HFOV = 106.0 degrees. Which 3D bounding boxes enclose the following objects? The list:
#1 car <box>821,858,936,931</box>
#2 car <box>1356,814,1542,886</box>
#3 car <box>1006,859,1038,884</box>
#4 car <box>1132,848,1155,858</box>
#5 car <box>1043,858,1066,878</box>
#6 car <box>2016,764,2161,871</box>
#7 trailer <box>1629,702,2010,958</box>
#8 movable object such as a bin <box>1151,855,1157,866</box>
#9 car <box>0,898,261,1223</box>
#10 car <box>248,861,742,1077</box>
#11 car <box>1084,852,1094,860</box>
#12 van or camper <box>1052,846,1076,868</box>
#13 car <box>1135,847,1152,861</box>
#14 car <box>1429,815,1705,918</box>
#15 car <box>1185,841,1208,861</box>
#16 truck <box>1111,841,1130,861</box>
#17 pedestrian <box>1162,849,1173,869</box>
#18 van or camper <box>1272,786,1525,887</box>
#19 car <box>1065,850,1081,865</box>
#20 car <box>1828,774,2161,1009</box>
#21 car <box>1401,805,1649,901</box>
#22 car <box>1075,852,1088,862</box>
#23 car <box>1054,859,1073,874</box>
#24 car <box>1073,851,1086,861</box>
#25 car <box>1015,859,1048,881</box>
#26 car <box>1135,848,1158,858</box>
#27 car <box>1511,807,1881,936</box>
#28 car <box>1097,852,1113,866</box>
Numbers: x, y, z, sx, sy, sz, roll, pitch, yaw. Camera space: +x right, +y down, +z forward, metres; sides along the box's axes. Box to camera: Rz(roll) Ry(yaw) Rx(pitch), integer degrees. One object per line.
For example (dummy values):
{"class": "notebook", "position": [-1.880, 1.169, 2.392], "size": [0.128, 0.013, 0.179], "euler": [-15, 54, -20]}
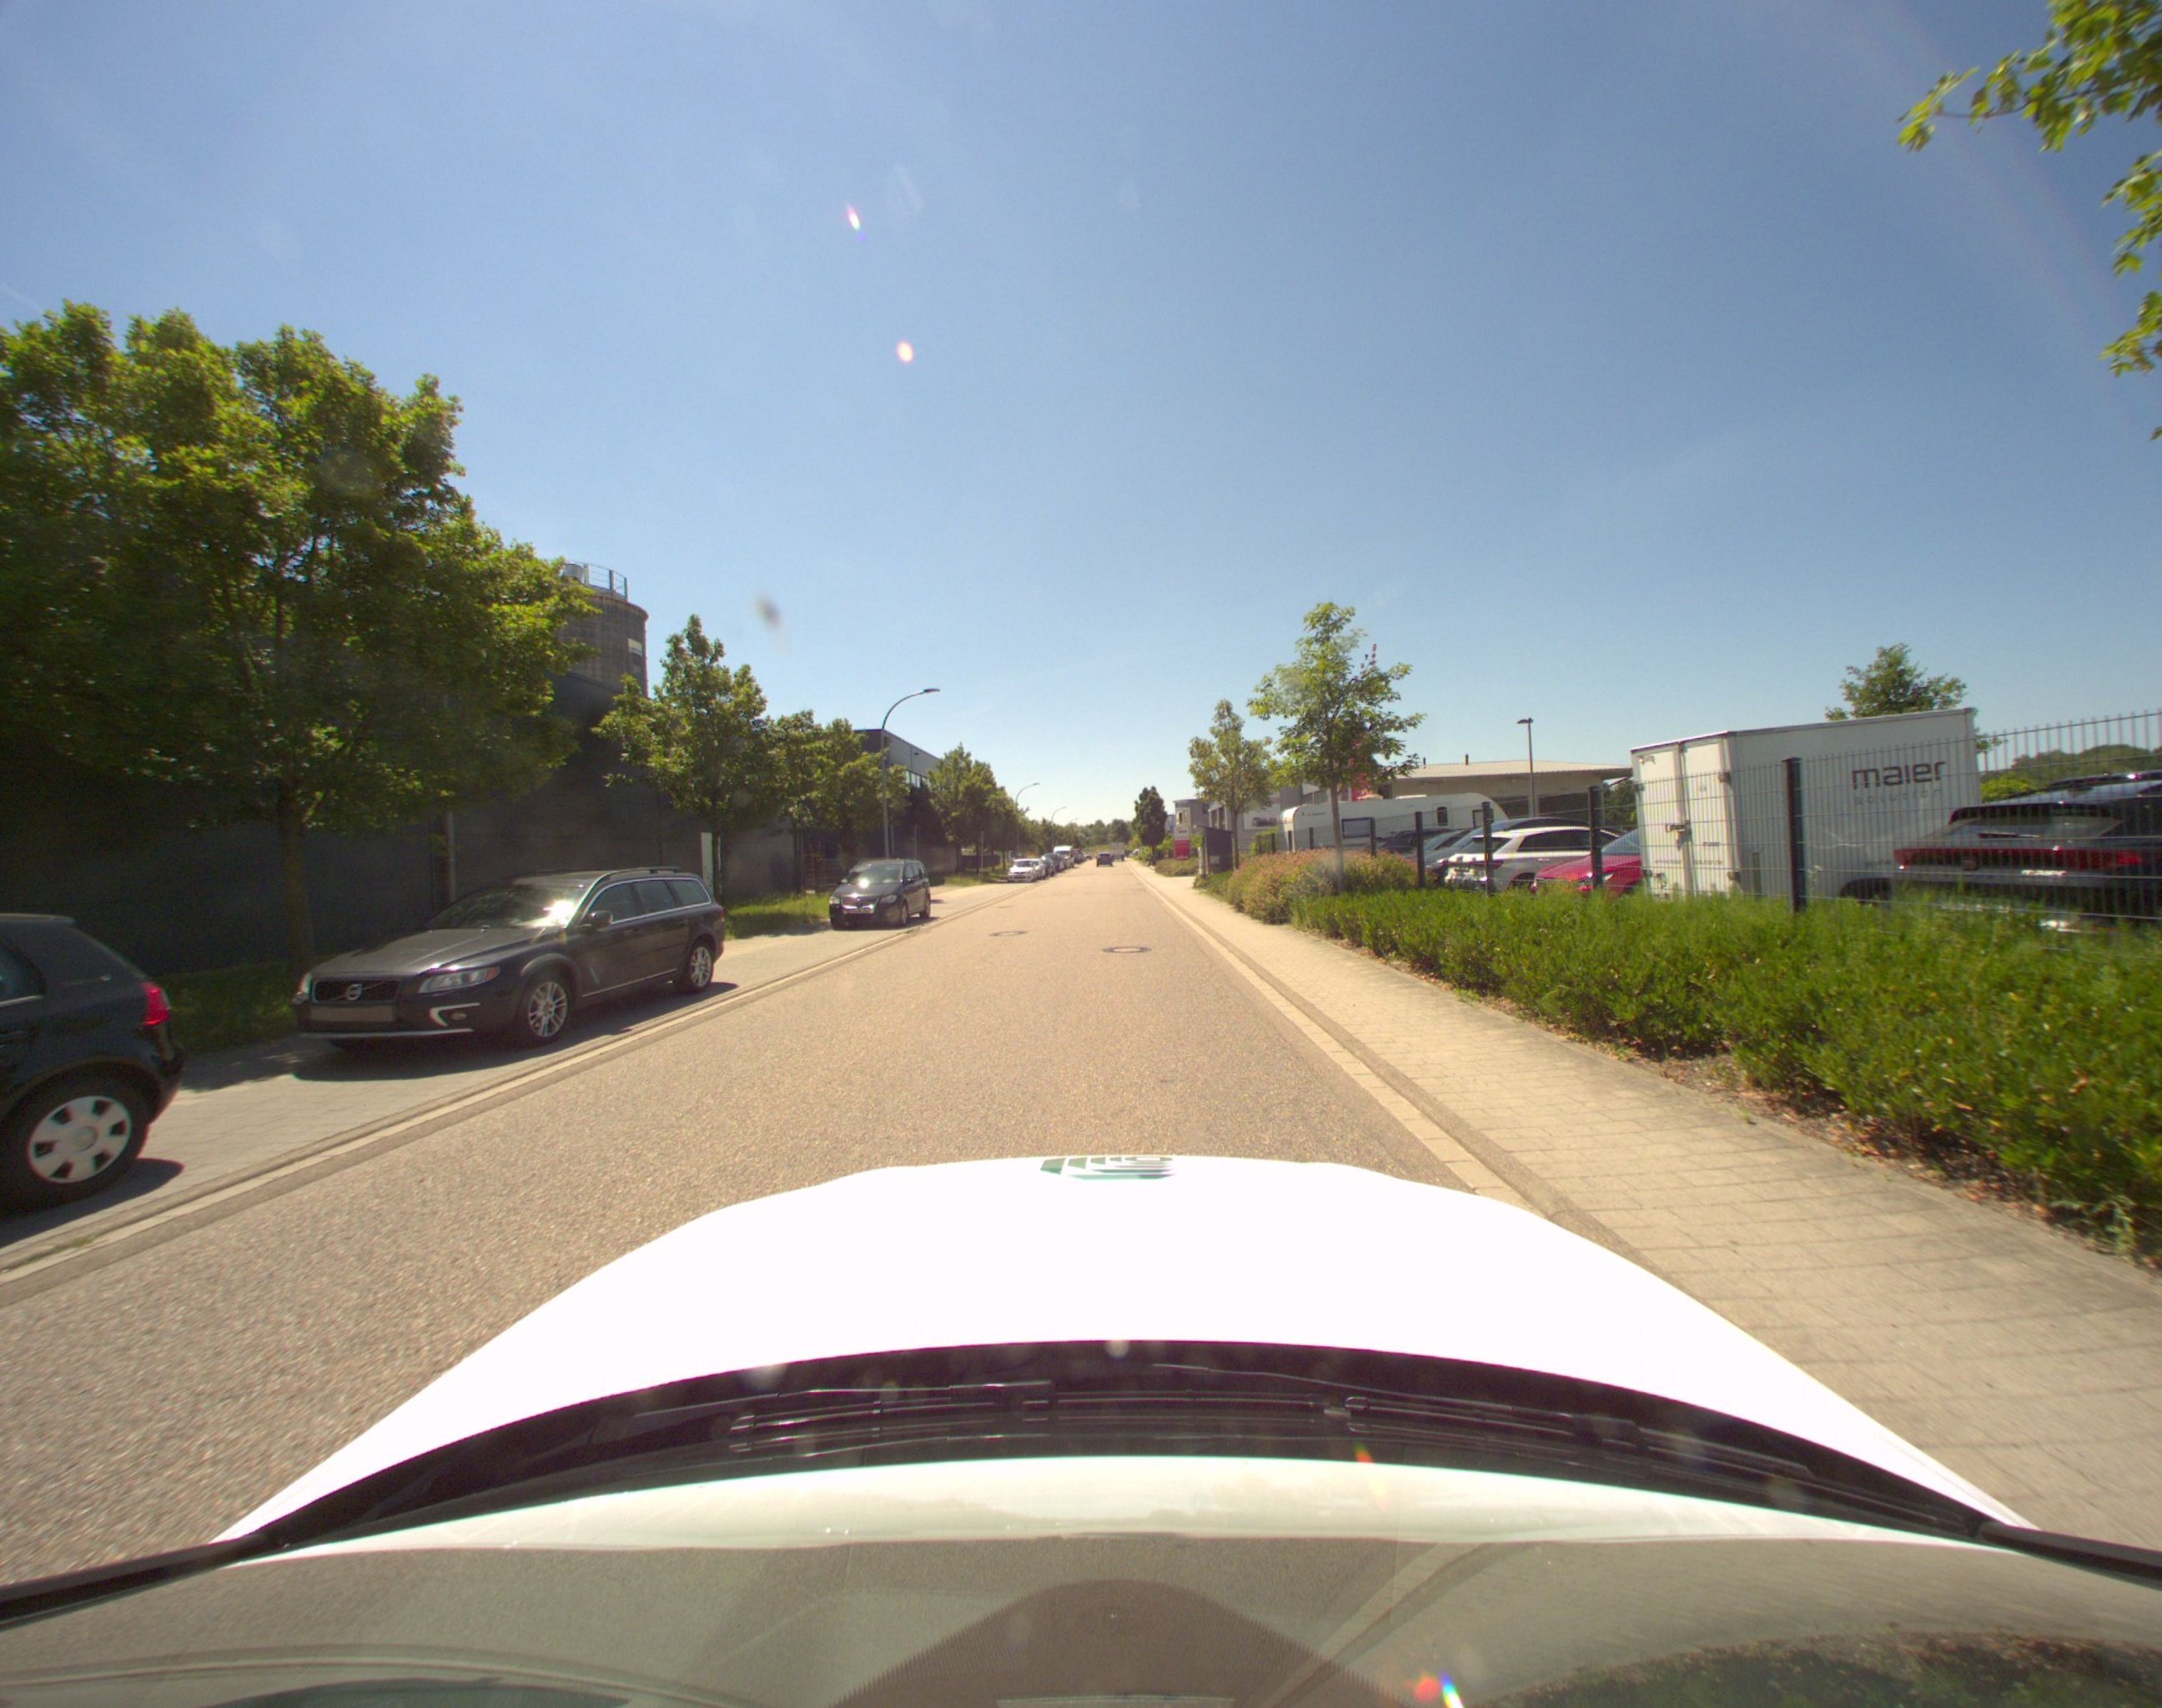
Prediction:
{"class": "car", "position": [-5.067, 0.952, 21.005], "size": [1.764, 1.611, 4.248], "euler": [-2, 0, 1]}
{"class": "car", "position": [9.796, -0.100, 21.903], "size": [4.122, 1.536, 1.809], "euler": [-4, 0, 1]}
{"class": "car", "position": [-3.775, 1.108, 52.768], "size": [1.715, 1.476, 3.857], "euler": [-2, 0, 0]}
{"class": "car", "position": [10.947, -0.176, 142.672], "size": [3.863, 1.750, 1.751], "euler": [0, 0, -1]}
{"class": "car", "position": [-2.460, 1.285, 76.305], "size": [1.792, 1.814, 4.254], "euler": [-2, 0, 2]}
{"class": "car", "position": [20.170, -0.738, 14.800], "size": [4.027, 1.806, 1.919], "euler": [-4, 0, 1]}
{"class": "trailer", "position": [7.967, -0.250, 8.956], "size": [2.815, 2.403, 1.418], "euler": [-4, 0, -2]}
{"class": "movable object such as a bin", "position": [7.350, 0.669, 81.834], "size": [0.529, 1.052, 0.846], "euler": [-3, 0, 4]}
{"class": "car", "position": [-5.853, 0.989, 2.812], "size": [1.765, 1.431, 4.200], "euler": [-1, 0, 0]}
{"class": "car", "position": [-5.666, 0.936, 8.891], "size": [1.764, 1.611, 4.853], "euler": [-2, 0, 1]}
{"class": "car", "position": [1.790, 0.437, 171.364], "size": [1.791, 1.487, 4.257], "euler": [-2, 0, 4]}
{"class": "van or camper", "position": [-1.927, 0.327, 93.807], "size": [2.069, 2.483, 6.138], "euler": [0, 0, 5]}
{"class": "car", "position": [9.051, 0.004, 118.462], "size": [1.987, 1.803, 4.139], "euler": [-3, 0, 0]}
{"class": "car", "position": [8.584, 0.206, 14.622], "size": [3.830, 1.440, 1.805], "euler": [-4, 0, -2]}
{"class": "car", "position": [11.215, -0.292, 79.172], "size": [1.777, 1.783, 4.911], "euler": [-4, -1, 5]}
{"class": "truck", "position": [6.045, -0.468, 125.073], "size": [2.921, 2.974, 6.423], "euler": [0, 0, 3]}
{"class": "pedestrian", "position": [7.338, 0.415, 69.258], "size": [0.501, 1.613, 0.710], "euler": [-6, 0, -16]}
{"class": "van or camper", "position": [9.613, -0.507, 25.223], "size": [6.733, 2.585, 2.636], "euler": [-3, 0, 1]}
{"class": "car", "position": [-1.125, 0.477, 114.203], "size": [1.791, 1.848, 4.257], "euler": [-2, 0, 4]}
{"class": "car", "position": [8.656, 0.136, 6.236], "size": [4.027, 1.503, 1.919], "euler": [-4, 0, 1]}
{"class": "car", "position": [9.361, -0.018, 17.416], "size": [4.237, 1.620, 1.809], "euler": [-4, 0, 1]}
{"class": "car", "position": [0.124, 0.417, 130.887], "size": [1.791, 1.487, 4.257], "euler": [-2, 0, 4]}
{"class": "car", "position": [-1.874, 1.298, 86.777], "size": [1.792, 1.449, 4.254], "euler": [-2, 0, 2]}
{"class": "car", "position": [-0.199, 0.343, 126.588], "size": [1.791, 1.487, 4.257], "euler": [-2, 0, 4]}
{"class": "car", "position": [-3.500, 1.114, 58.027], "size": [1.792, 1.476, 4.558], "euler": [-2, 0, 3]}
{"class": "car", "position": [11.230, -0.182, 140.131], "size": [3.863, 1.750, 1.751], "euler": [0, 0, -1]}
{"class": "car", "position": [8.624, 0.233, 11.705], "size": [3.877, 1.475, 1.807], "euler": [-3, 0, 1]}
{"class": "car", "position": [2.718, 0.557, 91.881], "size": [1.782, 1.623, 3.811], "euler": [0, 0, 2]}
